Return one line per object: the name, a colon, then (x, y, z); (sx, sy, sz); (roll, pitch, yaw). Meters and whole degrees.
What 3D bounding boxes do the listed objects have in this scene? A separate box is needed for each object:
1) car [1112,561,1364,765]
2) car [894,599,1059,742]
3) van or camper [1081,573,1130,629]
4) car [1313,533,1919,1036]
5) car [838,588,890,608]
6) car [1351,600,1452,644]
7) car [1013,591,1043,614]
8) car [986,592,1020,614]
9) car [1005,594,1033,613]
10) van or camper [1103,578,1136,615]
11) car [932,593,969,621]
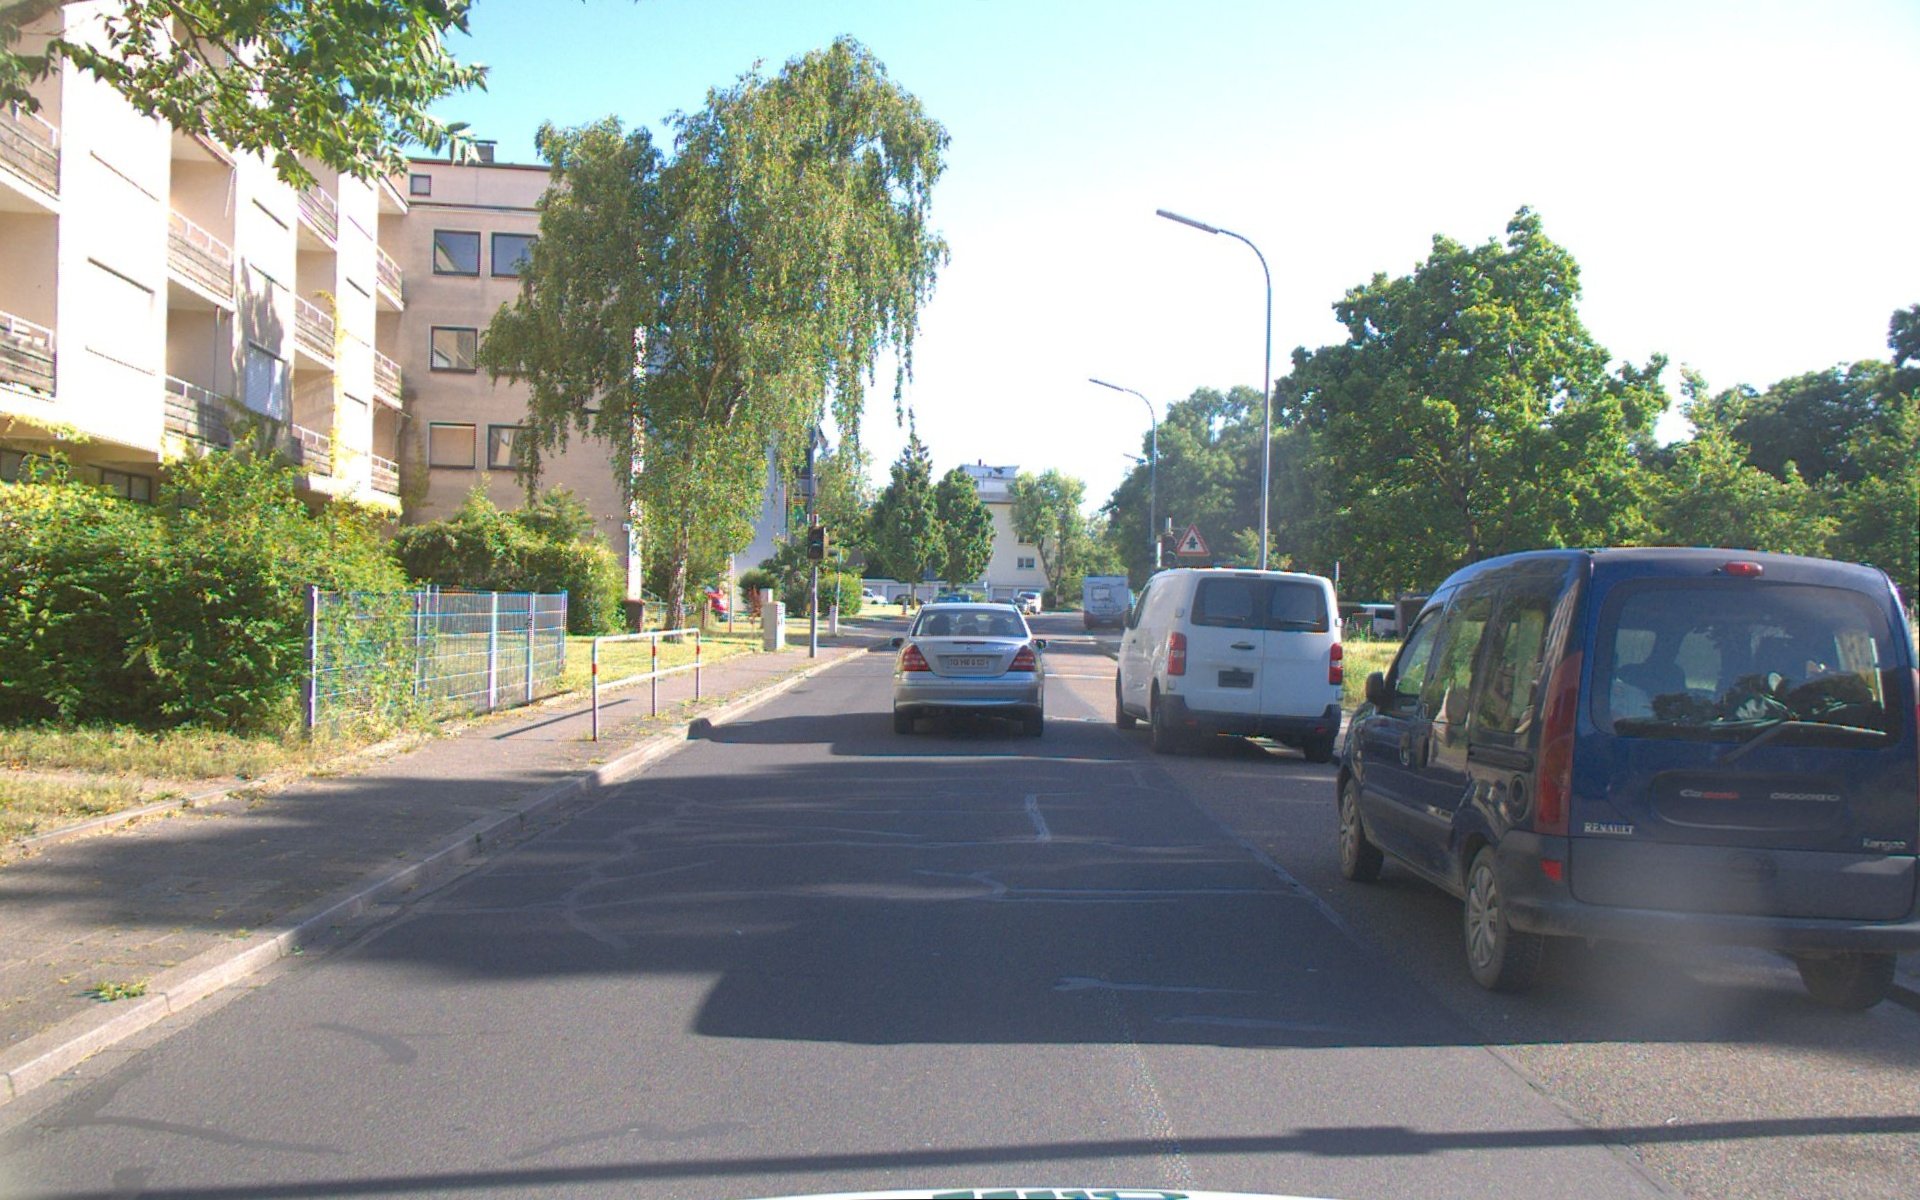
car: (2.921, 0.601, 18.468); (1.876, 1.904, 4.865); (2, 0, -1)
car: (0.172, 0.739, 18.973); (1.697, 1.459, 3.438); (1, 0, 0)
van or camper: (7.361, 0.039, 83.789); (2.302, 2.642, 6.429); (-2, 0, 5)
car: (2.976, 0.658, 8.007); (1.663, 1.760, 4.084); (2, 0, 1)
car: (-9.995, -0.197, 172.252); (4.997, 1.985, 2.239); (1, 0, 16)
car: (17.123, 0.828, 64.279); (3.606, 1.605, 1.830); (1, 0, 10)
car: (6.056, 0.203, 147.430); (1.971, 1.918, 5.195); (3, 0, 9)
car: (3.370, 0.237, 128.281); (1.992, 1.518, 5.260); (4, 1, 8)
car: (5.041, 0.292, 141.007); (1.794, 1.544, 4.225); (3, 0, 9)
van or camper: (12.944, -0.263, 133.627); (2.443, 2.895, 6.856); (1, 0, 7)
car: (-0.527, 0.361, 93.246); (1.612, 1.492, 4.333); (2, 0, 6)
